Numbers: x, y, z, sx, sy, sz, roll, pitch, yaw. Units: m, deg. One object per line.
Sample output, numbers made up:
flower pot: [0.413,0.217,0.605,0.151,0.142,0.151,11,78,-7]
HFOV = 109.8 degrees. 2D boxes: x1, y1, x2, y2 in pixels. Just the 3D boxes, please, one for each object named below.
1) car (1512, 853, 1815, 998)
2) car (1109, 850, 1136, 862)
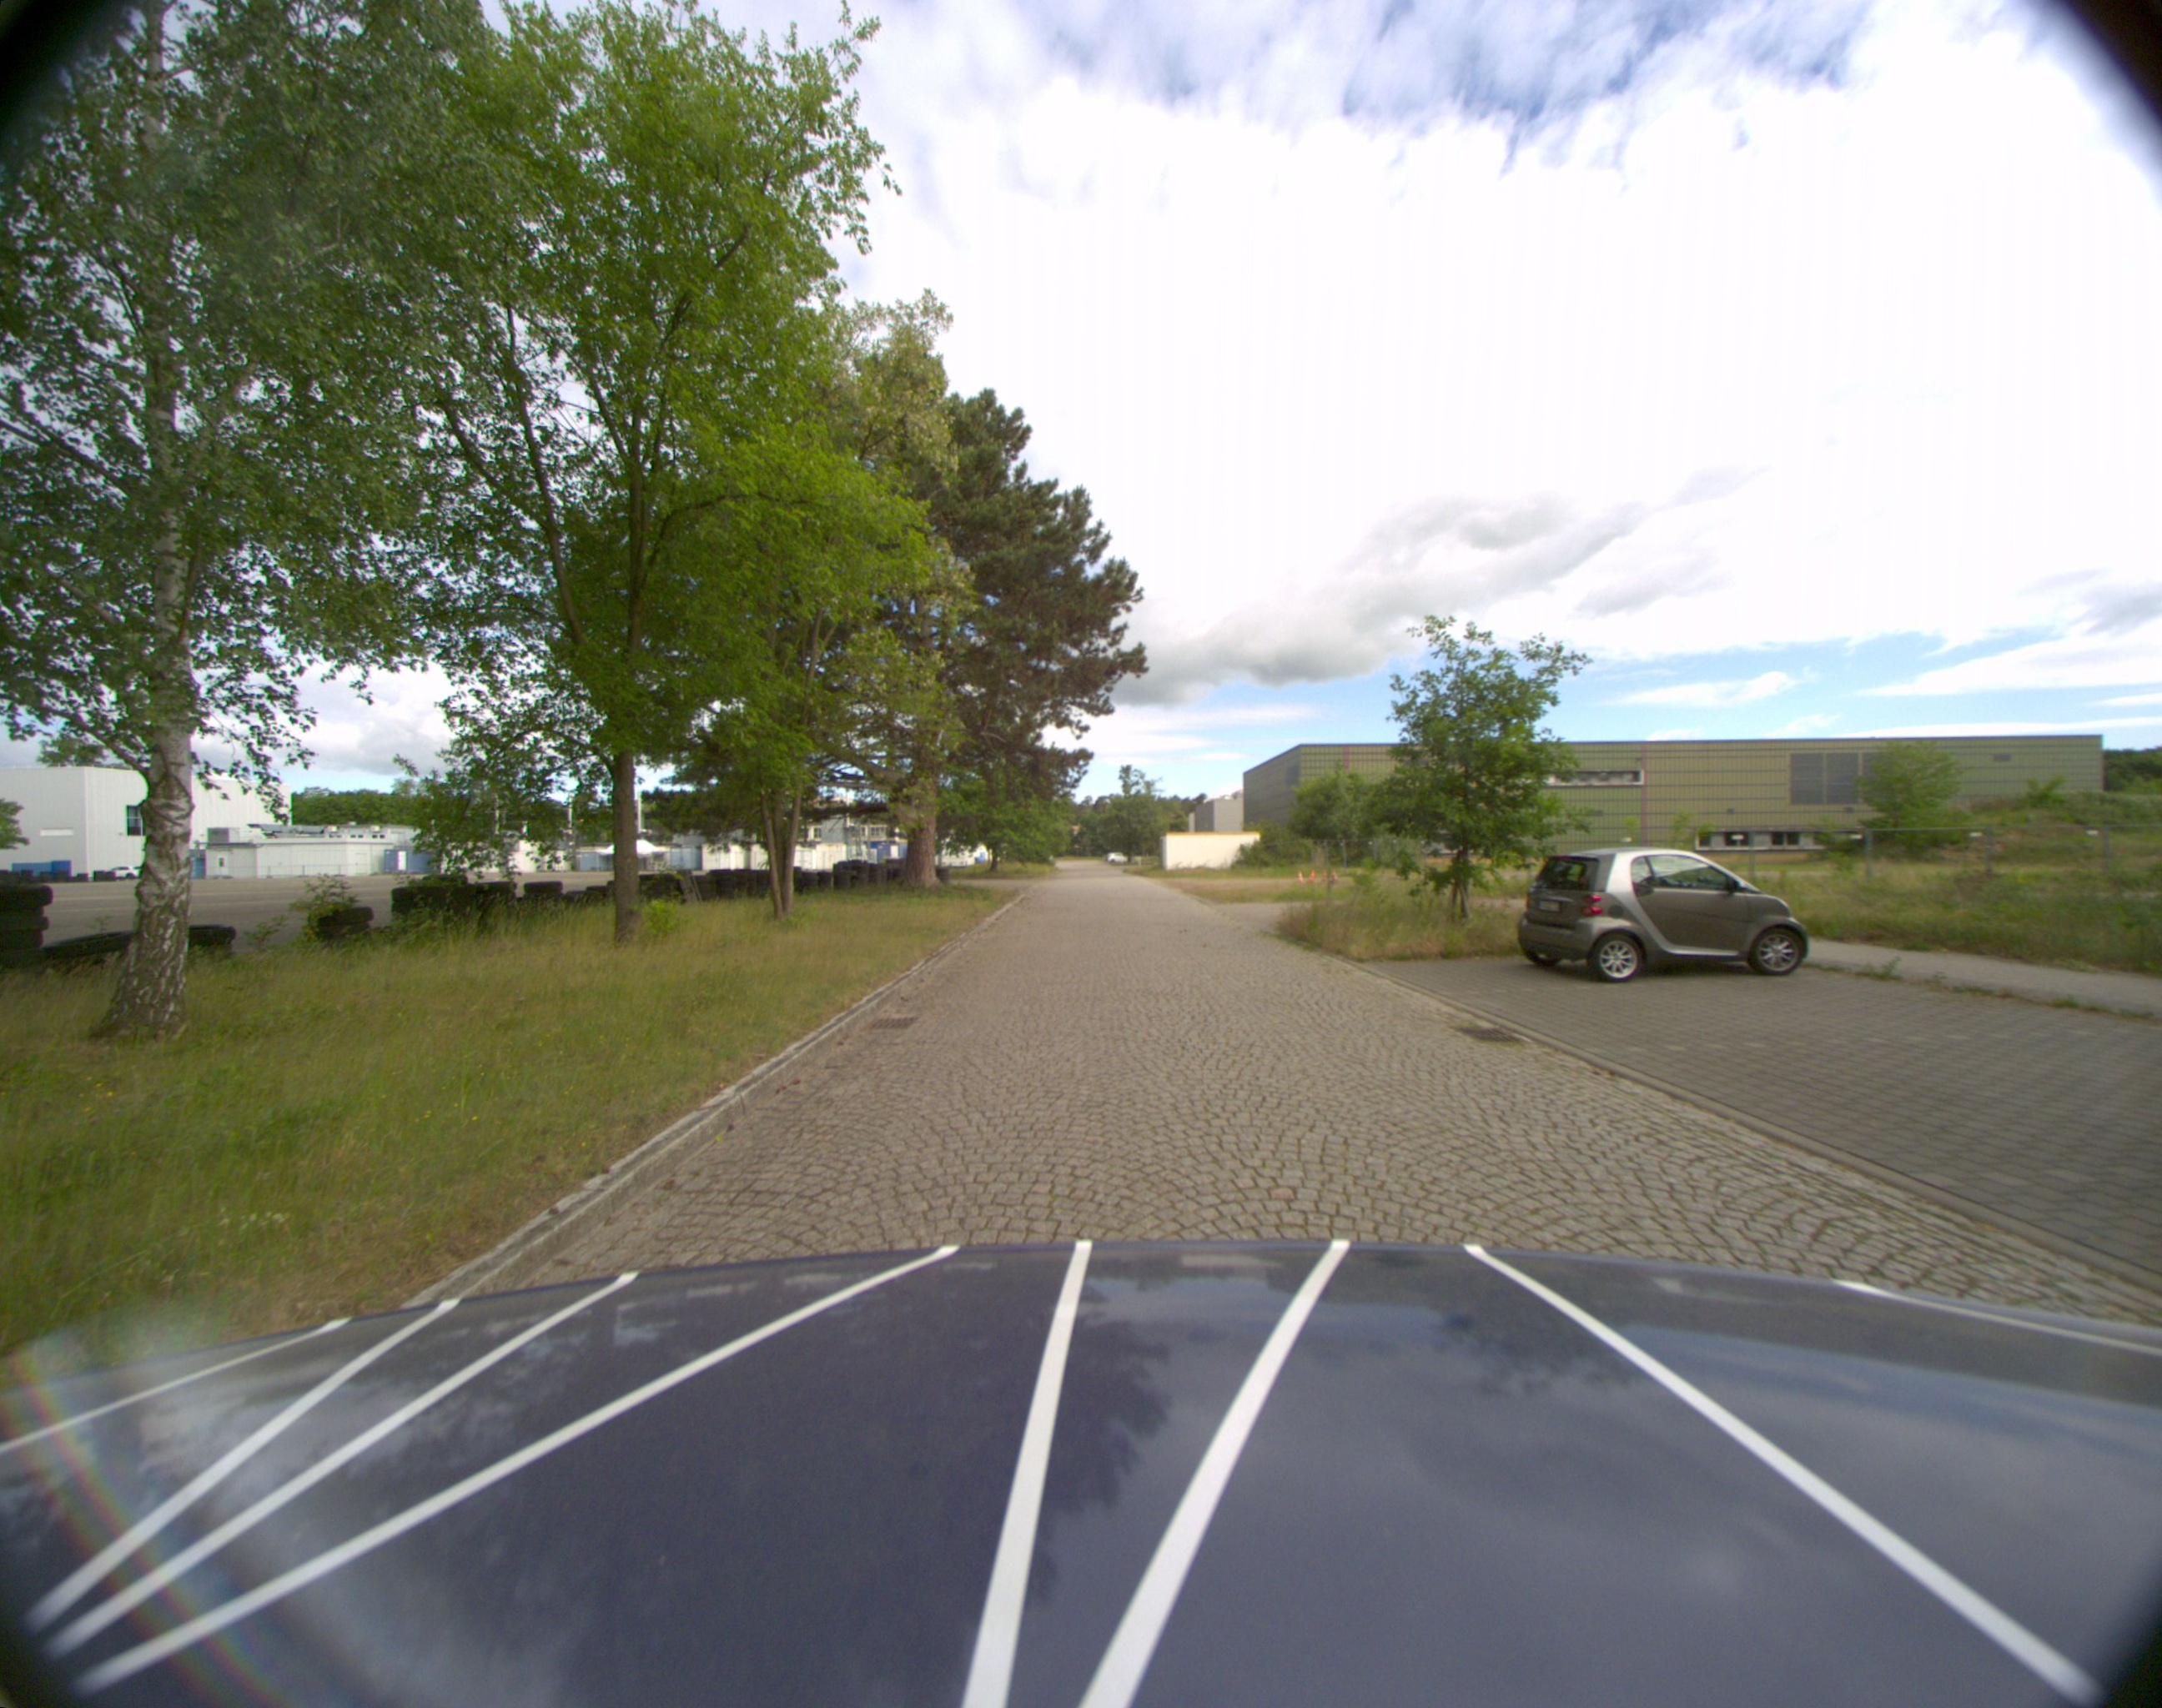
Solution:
car: [7.085,0.815,9.415,2.584,1.521,1.500,-3,1,-2]
car: [6.634,0.365,121.845,4.062,1.767,1.792,-1,1,0]
